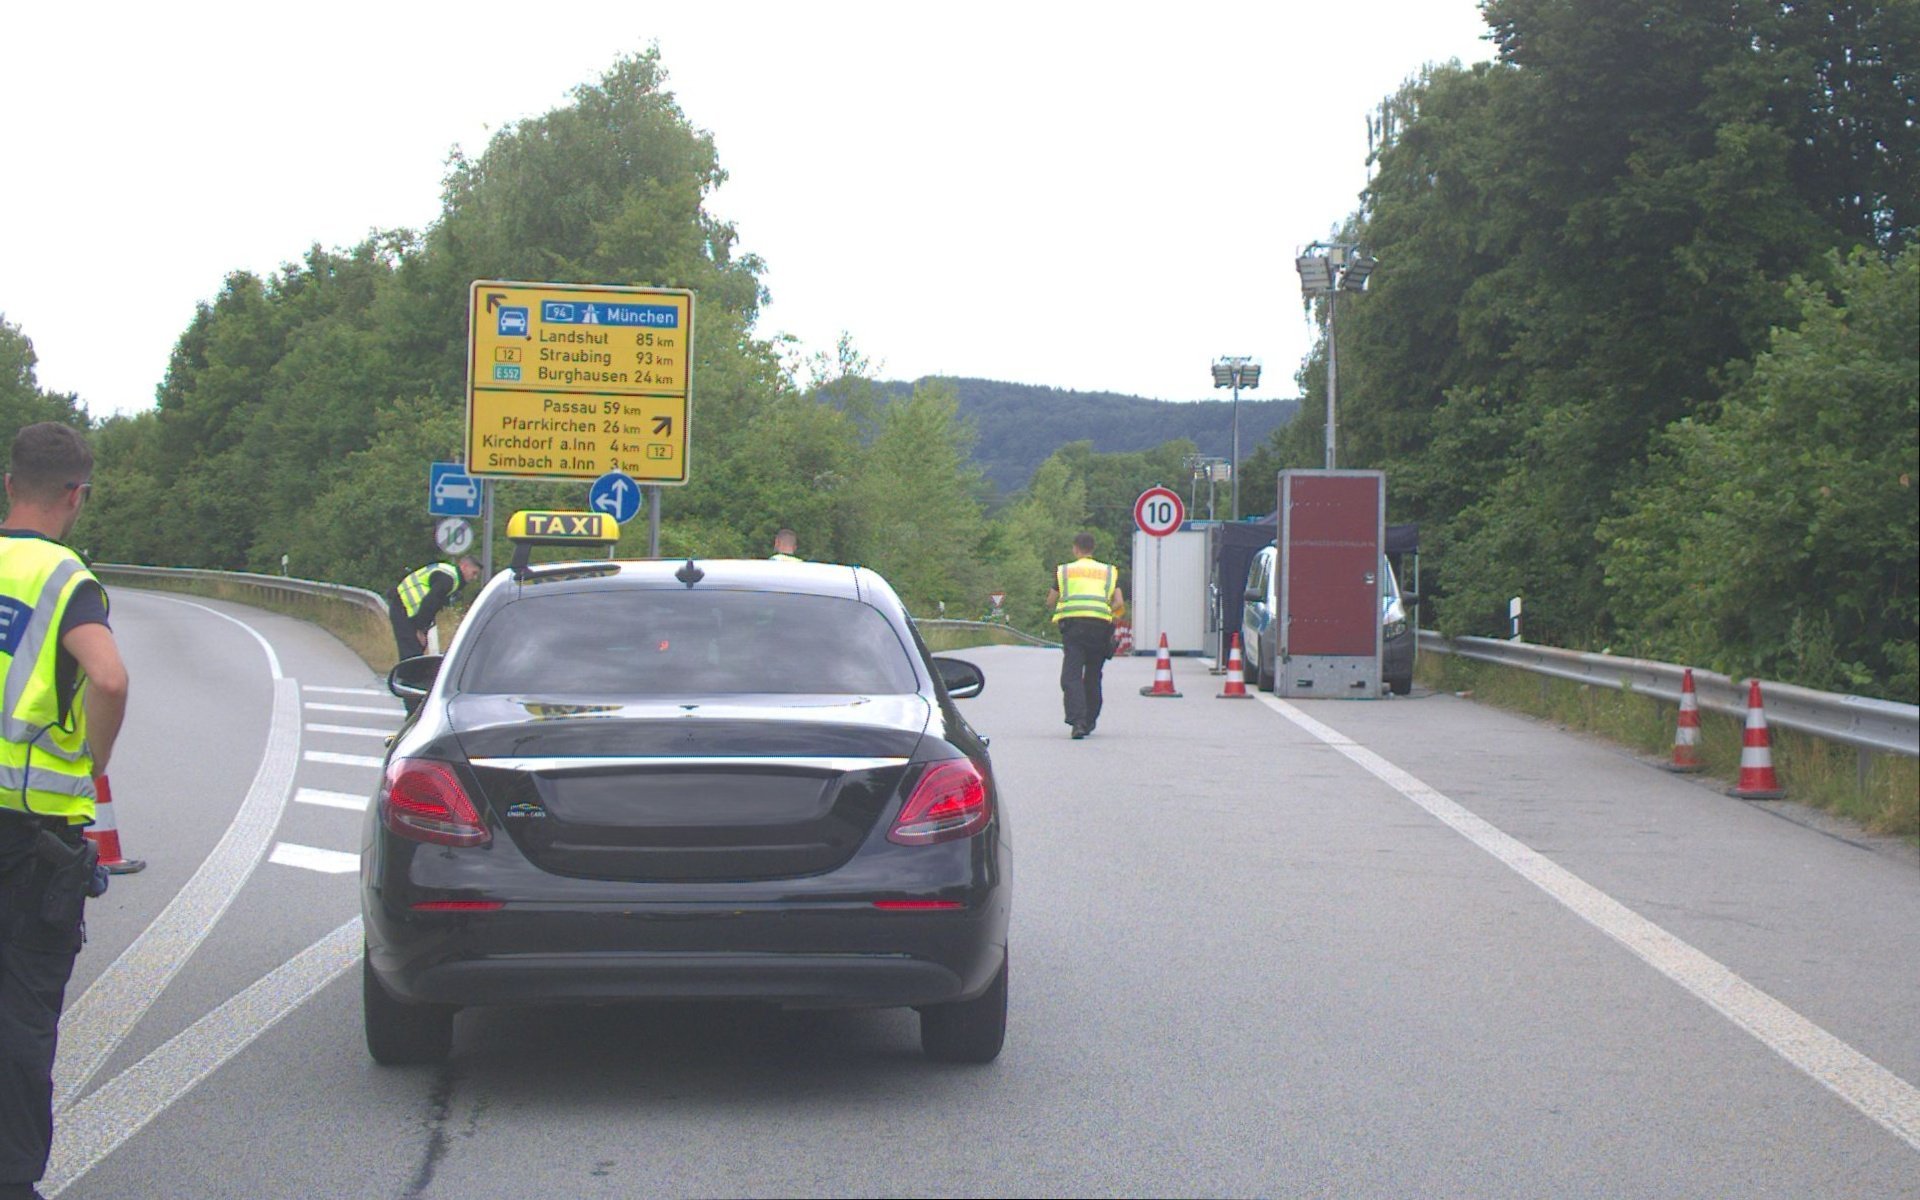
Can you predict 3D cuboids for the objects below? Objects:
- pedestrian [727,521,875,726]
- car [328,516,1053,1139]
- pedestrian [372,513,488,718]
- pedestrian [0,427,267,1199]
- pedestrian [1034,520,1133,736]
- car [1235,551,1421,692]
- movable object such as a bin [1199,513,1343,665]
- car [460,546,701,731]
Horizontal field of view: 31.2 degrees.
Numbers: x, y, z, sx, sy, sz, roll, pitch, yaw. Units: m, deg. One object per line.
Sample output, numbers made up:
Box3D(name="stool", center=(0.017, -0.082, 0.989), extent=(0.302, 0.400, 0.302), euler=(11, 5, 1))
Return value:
Box3D(name="pedestrian", center=(-1.344, 0.188, 29.035), extent=(0.908, 1.692, 0.914), euler=(0, 1, -32))
Box3D(name="car", center=(-0.881, 0.550, 11.029), extent=(1.855, 1.589, 4.376), euler=(0, 1, -5))
Box3D(name="pedestrian", center=(-4.624, 0.126, 30.061), extent=(0.910, 1.763, 0.912), euler=(0, 1, -3))
Box3D(name="pedestrian", center=(-2.022, 0.511, 7.206), extent=(0.761, 1.712, 0.816), euler=(0, 1, 37))
Box3D(name="pedestrian", center=(1.055, 0.234, 29.468), extent=(0.812, 1.824, 0.809), euler=(0, 1, -1))
Box3D(name="car", center=(4.740, 0.229, 44.936), extent=(1.916, 1.672, 5.083), euler=(2, 1, 1))
Box3D(name="movable object such as a bin", center=(4.820, -0.193, 53.775), extent=(1.993, 2.272, 4.168), euler=(0, 1, 2))
Box3D(name="car", center=(-3.232, 0.279, 29.941), extent=(1.855, 1.493, 4.257), euler=(0, 1, -3))
